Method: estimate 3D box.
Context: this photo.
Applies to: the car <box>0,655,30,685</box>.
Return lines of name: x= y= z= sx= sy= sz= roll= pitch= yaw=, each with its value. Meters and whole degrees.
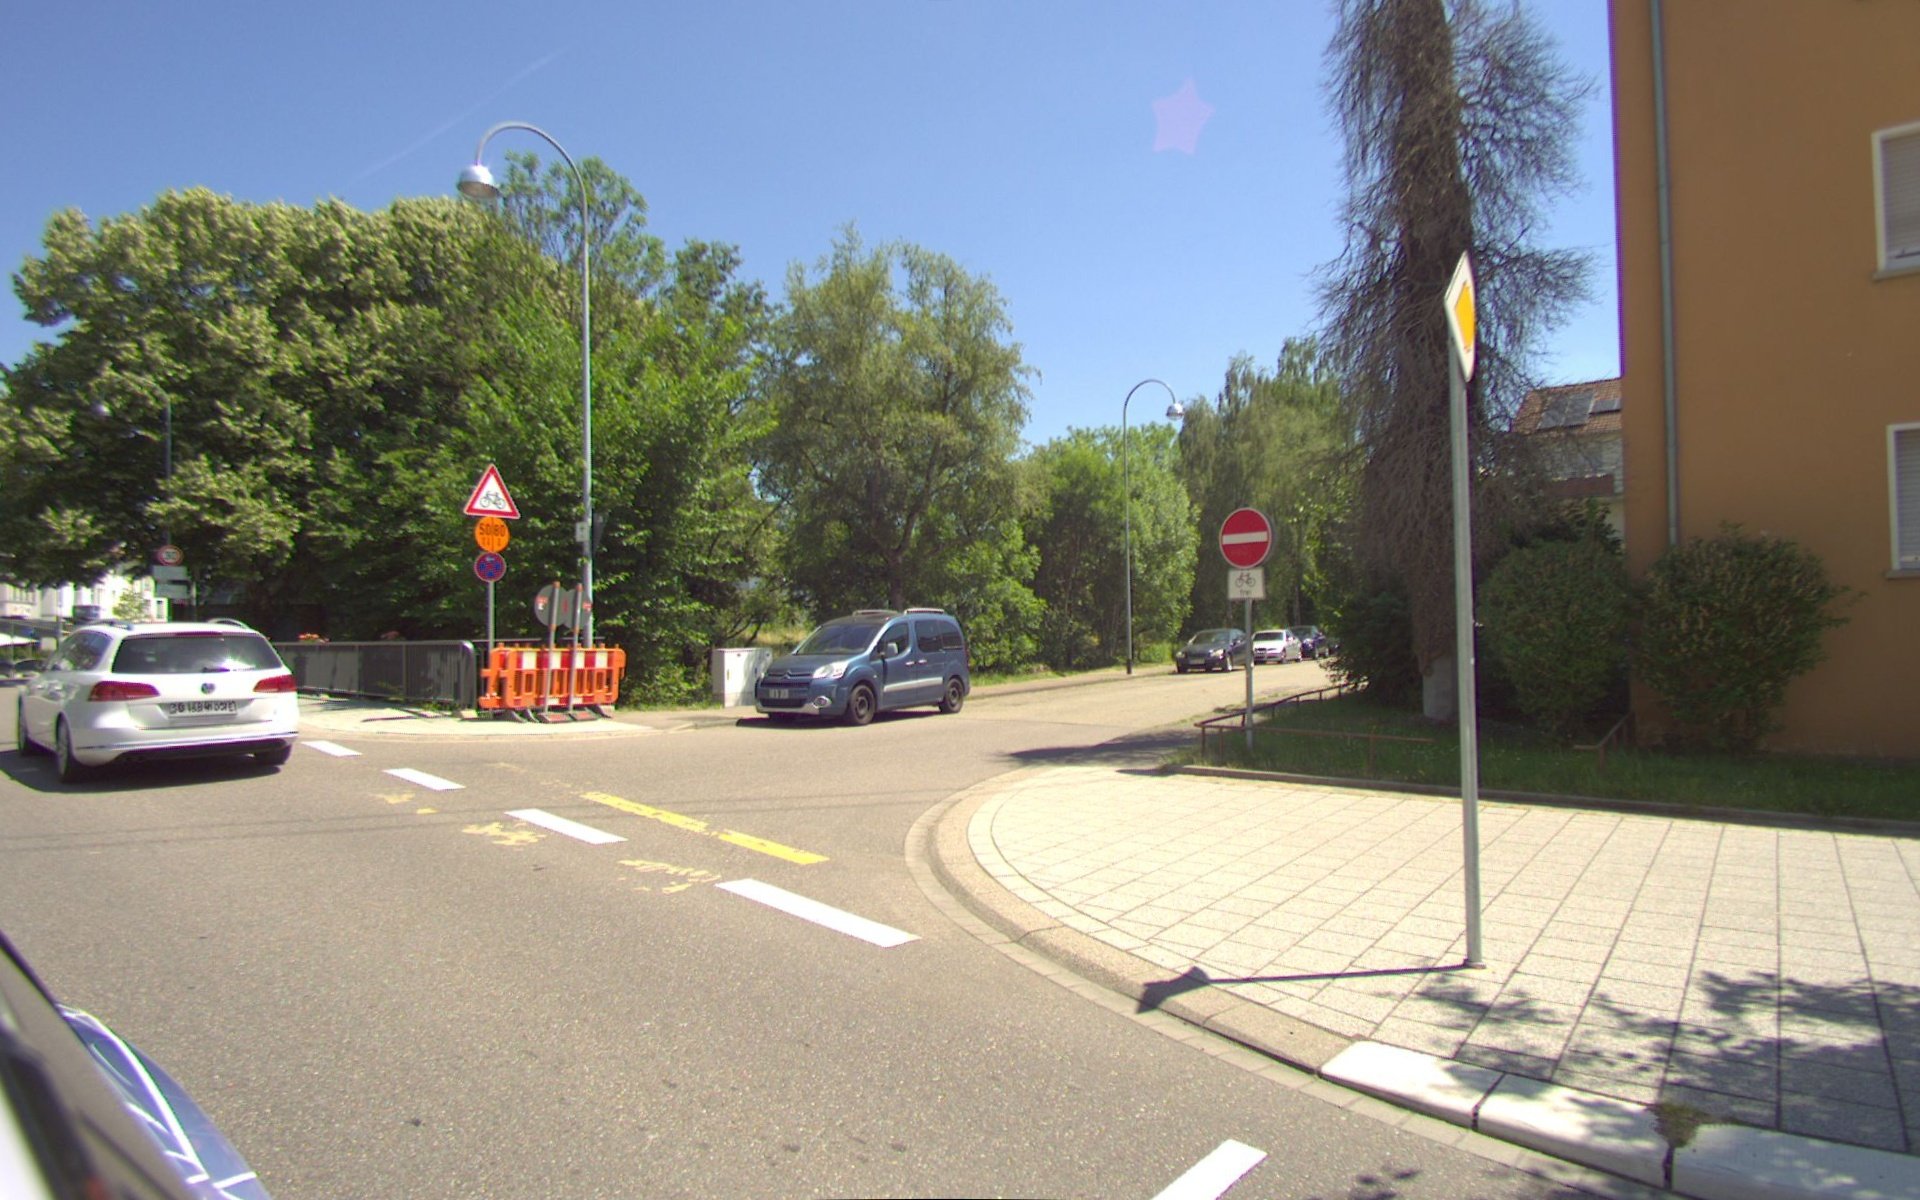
car: x=-57.405 y=4.103 z=59.390 sx=1.971 sy=1.729 sz=4.001 roll=-1 pitch=-4 yaw=-2

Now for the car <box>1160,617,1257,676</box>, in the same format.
car: x=8.438 y=1.555 z=34.136 sx=1.992 sy=1.815 sz=4.392 roll=-3 pitch=-3 yaw=30

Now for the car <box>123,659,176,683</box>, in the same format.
car: x=-61.844 y=5.376 z=77.279 sx=1.965 sy=1.697 sz=4.012 roll=1 pitch=-2 yaw=-20

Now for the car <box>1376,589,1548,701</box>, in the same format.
car: x=10.243 y=0.913 z=20.549 sx=2.000 sy=2.029 sz=3.942 roll=-3 pitch=-4 yaw=44

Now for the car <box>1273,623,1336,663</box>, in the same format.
car: x=16.326 y=2.011 z=47.840 sx=1.992 sy=1.815 sz=4.392 roll=-1 pitch=-2 yaw=30

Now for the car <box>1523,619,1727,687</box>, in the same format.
car: x=16.175 y=1.272 z=24.794 sx=3.990 sy=1.515 sz=1.977 roll=-2 pitch=-2 yaw=34

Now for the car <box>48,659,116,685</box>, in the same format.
car: x=-60.148 y=4.933 z=69.336 sx=3.976 sy=1.729 sz=1.983 roll=-3 pitch=-4 yaw=24

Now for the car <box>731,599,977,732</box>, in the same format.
car: x=-1.579 y=1.048 z=16.739 sx=1.812 sy=1.888 sz=4.392 roll=-4 pitch=-4 yaw=30

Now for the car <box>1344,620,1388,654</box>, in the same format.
car: x=25.640 y=2.330 z=63.883 sx=1.993 sy=2.029 sz=3.958 roll=-2 pitch=-2 yaw=31

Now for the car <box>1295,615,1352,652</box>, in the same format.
car: x=18.847 y=1.724 z=52.385 sx=1.992 sy=1.815 sz=4.392 roll=-1 pitch=-2 yaw=30

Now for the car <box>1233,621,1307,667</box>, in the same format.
car: x=12.930 y=1.795 z=42.043 sx=1.992 sy=1.815 sz=4.392 roll=-1 pitch=-2 yaw=30

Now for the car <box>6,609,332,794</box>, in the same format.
car: x=-8.326 y=0.916 z=10.516 sx=4.287 sy=1.518 sz=1.972 roll=-3 pitch=-2 yaw=42
